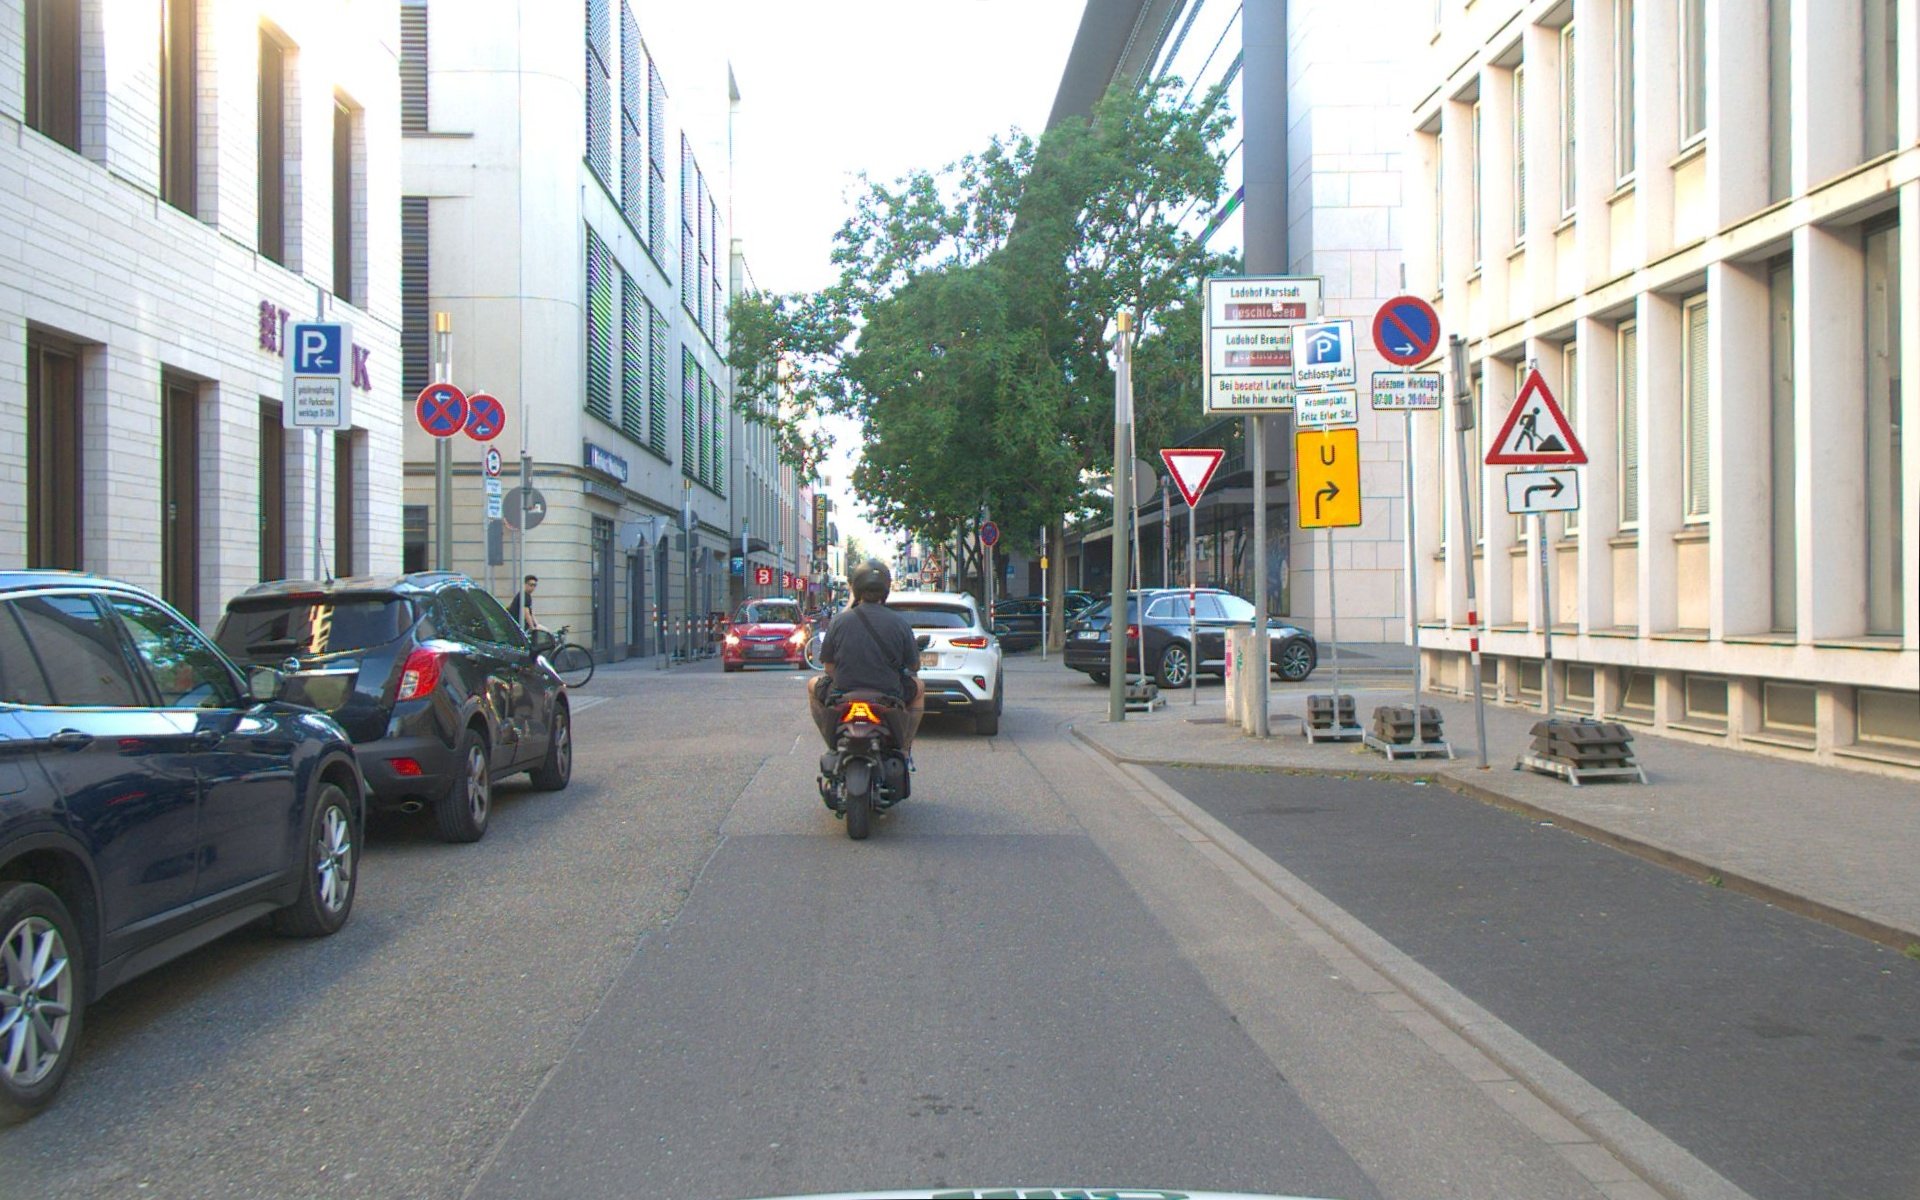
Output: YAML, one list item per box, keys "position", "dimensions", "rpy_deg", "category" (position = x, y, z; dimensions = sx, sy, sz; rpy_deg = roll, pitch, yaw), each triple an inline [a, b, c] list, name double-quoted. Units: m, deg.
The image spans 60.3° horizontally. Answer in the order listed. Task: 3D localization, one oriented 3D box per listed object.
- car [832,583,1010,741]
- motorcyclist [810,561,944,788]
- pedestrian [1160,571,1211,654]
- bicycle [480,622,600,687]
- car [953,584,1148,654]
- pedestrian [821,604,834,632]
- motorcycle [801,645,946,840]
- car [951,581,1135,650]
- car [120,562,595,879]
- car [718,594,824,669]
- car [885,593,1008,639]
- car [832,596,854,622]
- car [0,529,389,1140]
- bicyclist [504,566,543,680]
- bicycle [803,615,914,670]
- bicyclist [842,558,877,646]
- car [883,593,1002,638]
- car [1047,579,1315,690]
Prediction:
- position: [-0.508, 0.602, 18.797]
  dimensions: [1.786, 1.568, 4.261]
  rpy_deg: [0, 0, -3]
  category: "car"
- position: [-0.536, 0.478, 10.827]
  dimensions: [0.849, 1.452, 0.455]
  rpy_deg: [0, -1, -2]
  category: "motorcyclist"
- position: [4.908, 0.270, 36.043]
  dimensions: [0.887, 1.735, 0.834]
  rpy_deg: [-3, -1, -1]
  category: "pedestrian"
- position: [-6.560, 0.850, 25.889]
  dimensions: [1.783, 0.991, 0.509]
  rpy_deg: [0, -1, -13]
  category: "bicycle"
- position: [2.377, 0.505, 44.360]
  dimensions: [4.908, 1.477, 1.998]
  rpy_deg: [-4, 0, -5]
  category: "car"
- position: [-7.578, 1.024, 94.633]
  dimensions: [0.717, 1.601, 0.636]
  rpy_deg: [0, -1, -2]
  category: "pedestrian"
- position: [-0.535, 0.873, 10.742]
  dimensions: [0.855, 1.129, 1.839]
  rpy_deg: [0, -1, -1]
  category: "motorcycle"
- position: [2.308, 0.436, 46.845]
  dimensions: [4.908, 1.525, 1.998]
  rpy_deg: [-4, 0, -5]
  category: "car"
- position: [-3.869, 0.656, 11.477]
  dimensions: [1.786, 1.707, 4.262]
  rpy_deg: [-2, 1, -2]
  category: "car"
- position: [-3.947, 0.695, 35.153]
  dimensions: [1.785, 1.491, 4.262]
  rpy_deg: [0, -2, 0]
  category: "car"
- position: [-0.596, 0.666, 68.484]
  dimensions: [4.908, 1.525, 1.998]
  rpy_deg: [-4, 0, -5]
  category: "car"
- position: [-11.049, 0.805, 156.364]
  dimensions: [1.954, 2.370, 5.016]
  rpy_deg: [1, 0, -5]
  category: "car"
- position: [-3.507, 0.646, 5.806]
  dimensions: [1.705, 1.622, 4.151]
  rpy_deg: [-3, 1, -3]
  category: "car"
- position: [-6.818, 0.362, 25.840]
  dimensions: [0.540, 1.762, 0.500]
  rpy_deg: [0, -1, -12]
  category: "bicyclist"
- position: [-1.921, 0.800, 31.216]
  dimensions: [2.063, 1.012, 0.517]
  rpy_deg: [0, -1, -9]
  category: "bicycle"
- position: [-1.902, 0.046, 31.223]
  dimensions: [0.618, 1.654, 0.497]
  rpy_deg: [0, -1, -9]
  category: "bicyclist"
- position: [-0.771, 0.681, 71.011]
  dimensions: [4.908, 1.525, 1.998]
  rpy_deg: [-4, 0, -5]
  category: "car"
- position: [3.575, 0.478, 26.374]
  dimensions: [4.322, 1.568, 1.803]
  rpy_deg: [-2, 2, -39]
  category: "car"
